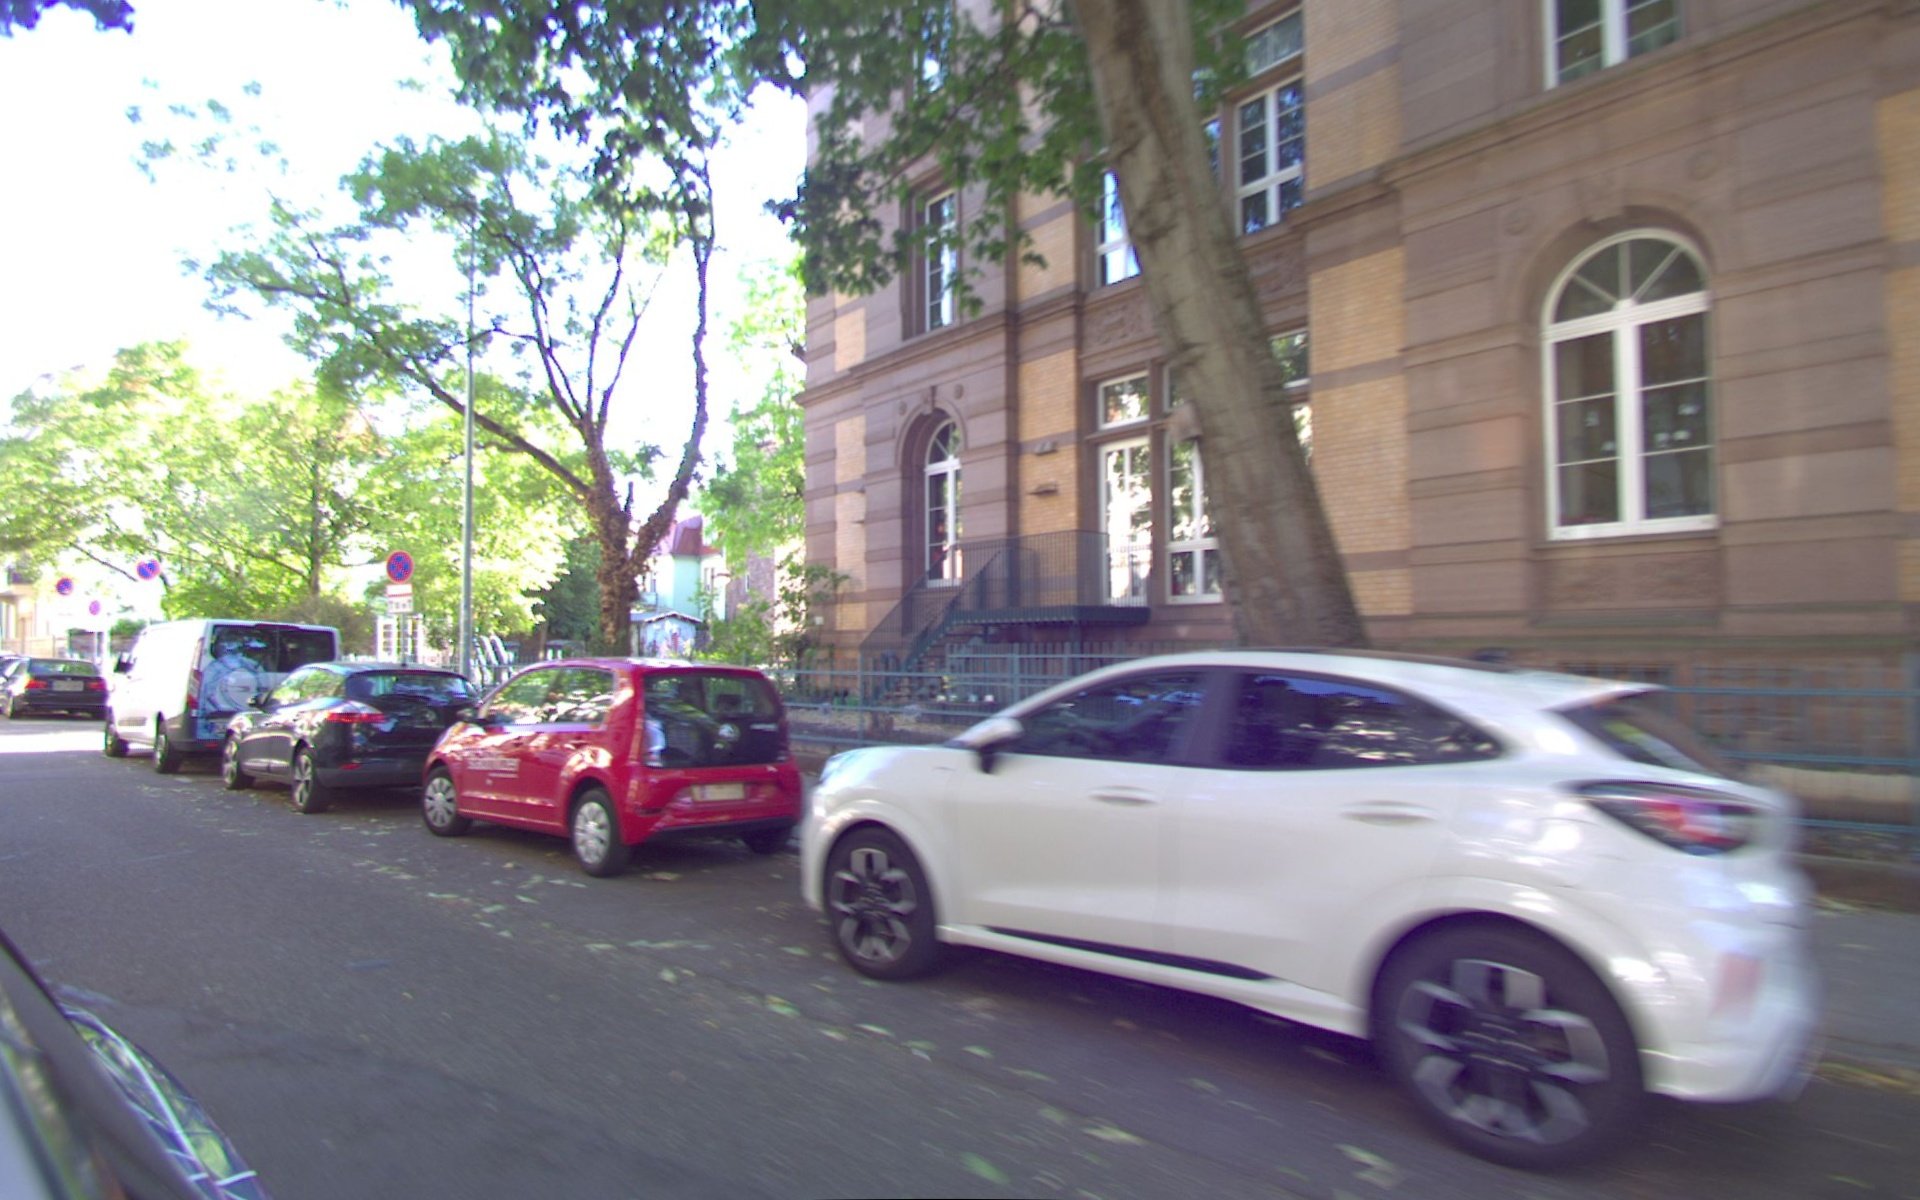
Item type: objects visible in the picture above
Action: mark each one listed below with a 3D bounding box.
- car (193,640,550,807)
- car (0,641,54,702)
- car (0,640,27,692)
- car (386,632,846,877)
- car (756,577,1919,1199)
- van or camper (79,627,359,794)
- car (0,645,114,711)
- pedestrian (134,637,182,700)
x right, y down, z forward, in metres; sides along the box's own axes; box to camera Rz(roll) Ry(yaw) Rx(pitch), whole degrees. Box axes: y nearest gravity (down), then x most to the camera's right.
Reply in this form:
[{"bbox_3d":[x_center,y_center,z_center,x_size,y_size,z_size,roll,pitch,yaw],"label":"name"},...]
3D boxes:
[{"bbox_3d":[-6.641,1.244,11.202,4.603,1.469,1.980,-3,-6,41],"label":"car"},{"bbox_3d":[-26.739,1.972,28.201,4.150,1.585,1.658,-3,-7,42],"label":"car"},{"bbox_3d":[-31.389,2.080,32.303,4.465,1.603,1.762,-3,-6,40],"label":"car"},{"bbox_3d":[-2.885,1.079,8.060,4.024,1.471,1.585,-3,-7,40],"label":"car"},{"bbox_3d":[1.205,0.882,4.379,4.128,1.566,1.807,-2,-7,39],"label":"car"},{"bbox_3d":[-10.891,1.501,14.706,5.457,1.995,1.902,-2,-7,40],"label":"van or camper"},{"bbox_3d":[-21.906,1.851,24.164,4.775,1.406,1.696,-3,-7,40],"label":"car"},{"bbox_3d":[-20.645,1.753,26.050,0.529,1.589,0.872,-3,-3,41],"label":"pedestrian"}]
